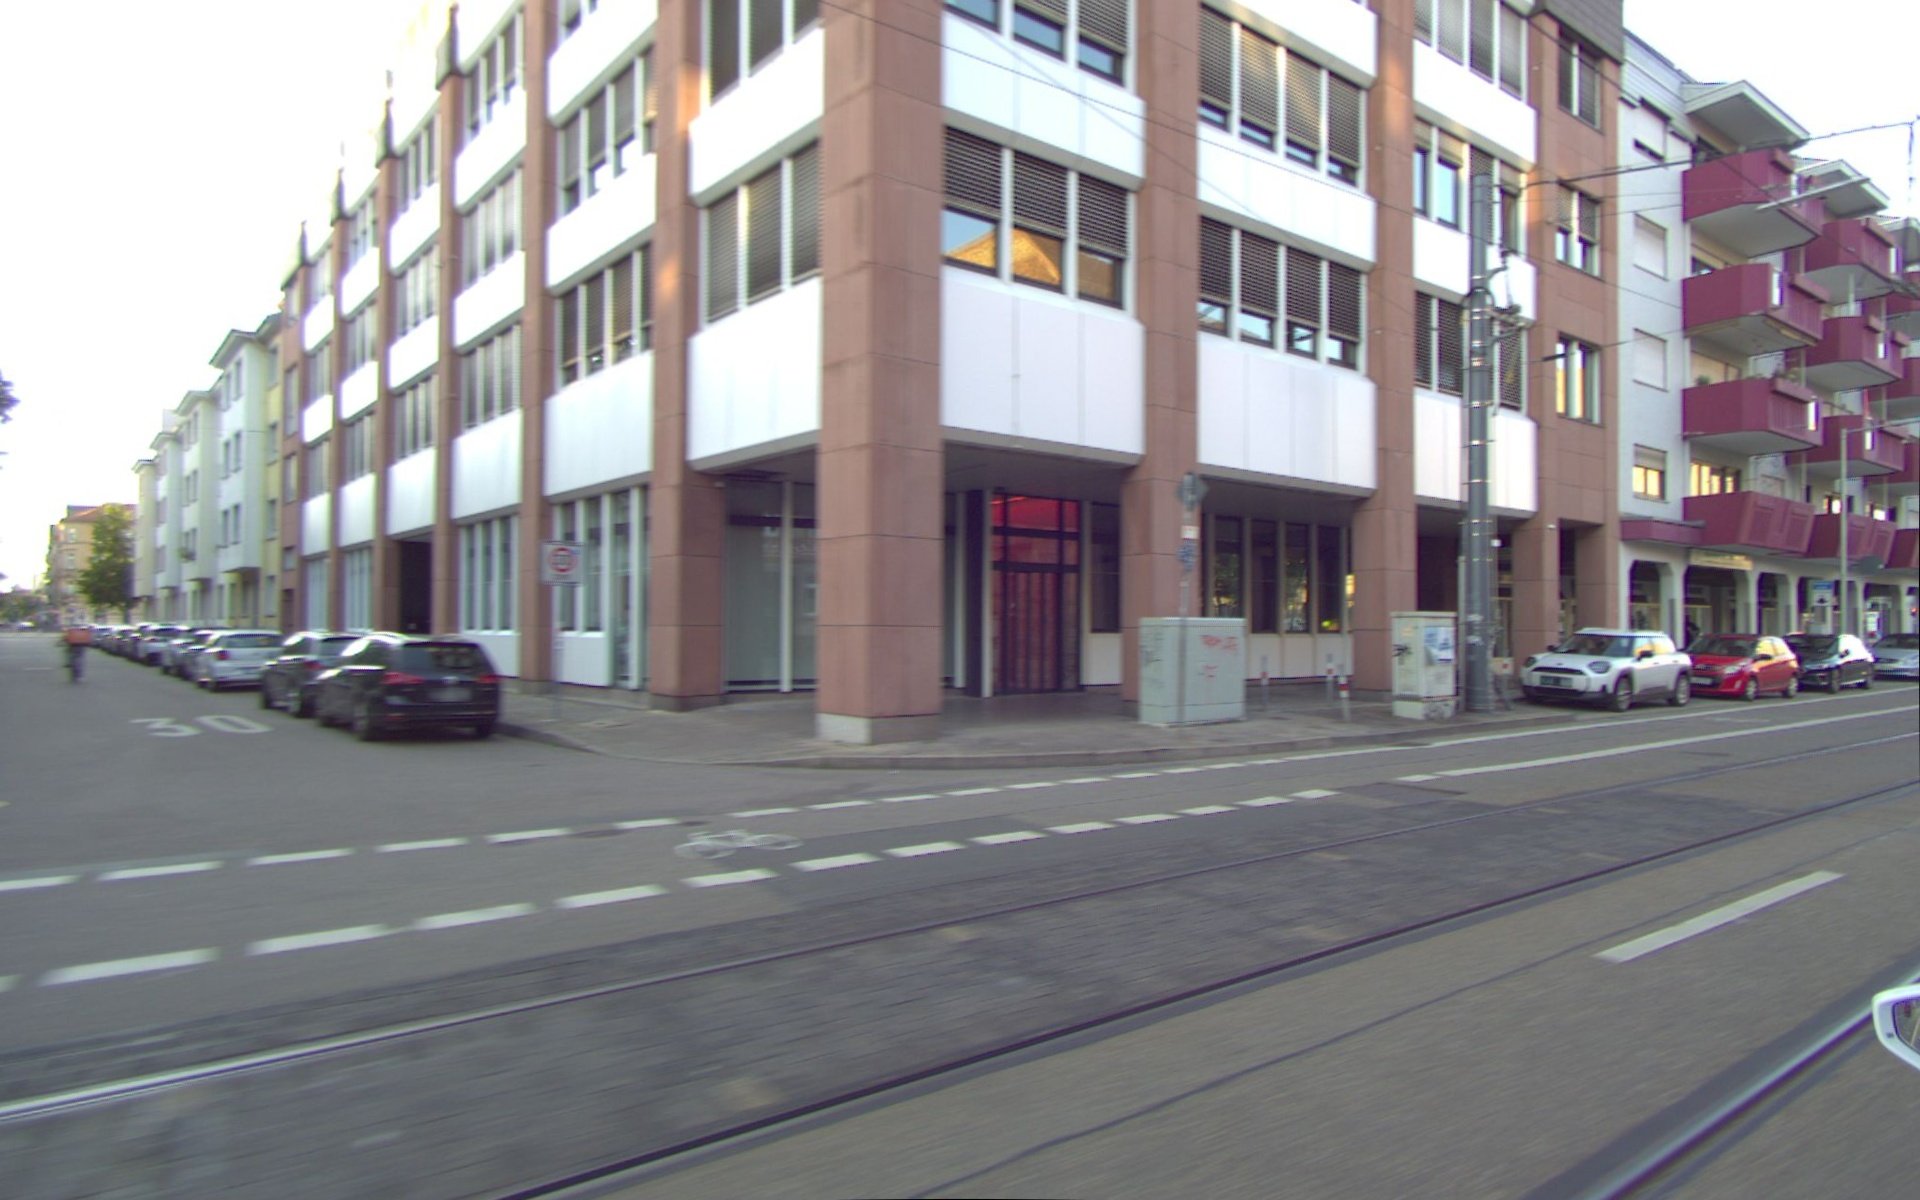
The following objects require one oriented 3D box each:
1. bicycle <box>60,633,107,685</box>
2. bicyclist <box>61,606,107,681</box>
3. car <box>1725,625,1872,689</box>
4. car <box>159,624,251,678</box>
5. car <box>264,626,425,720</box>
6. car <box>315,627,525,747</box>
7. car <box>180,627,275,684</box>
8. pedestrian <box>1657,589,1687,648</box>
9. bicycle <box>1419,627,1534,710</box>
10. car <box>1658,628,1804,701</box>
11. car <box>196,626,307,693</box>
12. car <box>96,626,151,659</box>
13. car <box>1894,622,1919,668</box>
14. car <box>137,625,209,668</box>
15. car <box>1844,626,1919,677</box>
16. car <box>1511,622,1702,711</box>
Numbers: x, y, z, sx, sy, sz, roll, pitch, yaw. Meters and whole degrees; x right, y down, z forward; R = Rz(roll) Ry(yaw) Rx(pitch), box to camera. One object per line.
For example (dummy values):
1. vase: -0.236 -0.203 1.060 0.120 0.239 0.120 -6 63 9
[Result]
1. bicycle: -24.821 1.639 28.443 0.950 1.372 3.142 1 -2 -42
2. bicyclist: -24.822 1.220 28.447 0.940 2.040 1.203 1 -2 -42
3. car: 22.366 1.447 26.751 4.439 1.499 1.979 1 1 -36
4. car: -24.393 1.607 32.406 1.911 1.624 3.949 1 -2 -44
5. car: -11.415 1.275 18.516 1.909 1.524 3.953 3 -3 -40
6. car: -8.084 1.193 14.878 1.909 1.524 3.953 3 -3 -40
7. car: -21.022 1.534 28.766 1.908 1.524 3.953 1 -2 -41
8. pedestrian: 23.319 0.604 32.891 0.518 1.897 0.614 0 -1 -13
9. bicycle: 9.156 1.175 17.775 2.228 1.396 0.606 1 -1 -27
10. car: 17.861 1.435 23.241 3.442 1.499 1.602 1 1 -33
11. car: -17.770 1.433 25.116 1.908 1.524 3.953 1 -2 -41
12. car: -42.336 2.117 50.801 1.910 1.624 3.949 1 -2 -43
13. car: 34.195 1.571 34.812 4.156 1.528 1.777 1 0 -34
14. car: -31.174 1.799 39.767 1.910 1.624 3.949 1 -2 -43
15. car: 29.490 1.565 31.285 4.625 1.432 1.682 1 1 -32
16. car: 12.988 1.247 20.110 4.159 1.576 1.706 1 0 -34
